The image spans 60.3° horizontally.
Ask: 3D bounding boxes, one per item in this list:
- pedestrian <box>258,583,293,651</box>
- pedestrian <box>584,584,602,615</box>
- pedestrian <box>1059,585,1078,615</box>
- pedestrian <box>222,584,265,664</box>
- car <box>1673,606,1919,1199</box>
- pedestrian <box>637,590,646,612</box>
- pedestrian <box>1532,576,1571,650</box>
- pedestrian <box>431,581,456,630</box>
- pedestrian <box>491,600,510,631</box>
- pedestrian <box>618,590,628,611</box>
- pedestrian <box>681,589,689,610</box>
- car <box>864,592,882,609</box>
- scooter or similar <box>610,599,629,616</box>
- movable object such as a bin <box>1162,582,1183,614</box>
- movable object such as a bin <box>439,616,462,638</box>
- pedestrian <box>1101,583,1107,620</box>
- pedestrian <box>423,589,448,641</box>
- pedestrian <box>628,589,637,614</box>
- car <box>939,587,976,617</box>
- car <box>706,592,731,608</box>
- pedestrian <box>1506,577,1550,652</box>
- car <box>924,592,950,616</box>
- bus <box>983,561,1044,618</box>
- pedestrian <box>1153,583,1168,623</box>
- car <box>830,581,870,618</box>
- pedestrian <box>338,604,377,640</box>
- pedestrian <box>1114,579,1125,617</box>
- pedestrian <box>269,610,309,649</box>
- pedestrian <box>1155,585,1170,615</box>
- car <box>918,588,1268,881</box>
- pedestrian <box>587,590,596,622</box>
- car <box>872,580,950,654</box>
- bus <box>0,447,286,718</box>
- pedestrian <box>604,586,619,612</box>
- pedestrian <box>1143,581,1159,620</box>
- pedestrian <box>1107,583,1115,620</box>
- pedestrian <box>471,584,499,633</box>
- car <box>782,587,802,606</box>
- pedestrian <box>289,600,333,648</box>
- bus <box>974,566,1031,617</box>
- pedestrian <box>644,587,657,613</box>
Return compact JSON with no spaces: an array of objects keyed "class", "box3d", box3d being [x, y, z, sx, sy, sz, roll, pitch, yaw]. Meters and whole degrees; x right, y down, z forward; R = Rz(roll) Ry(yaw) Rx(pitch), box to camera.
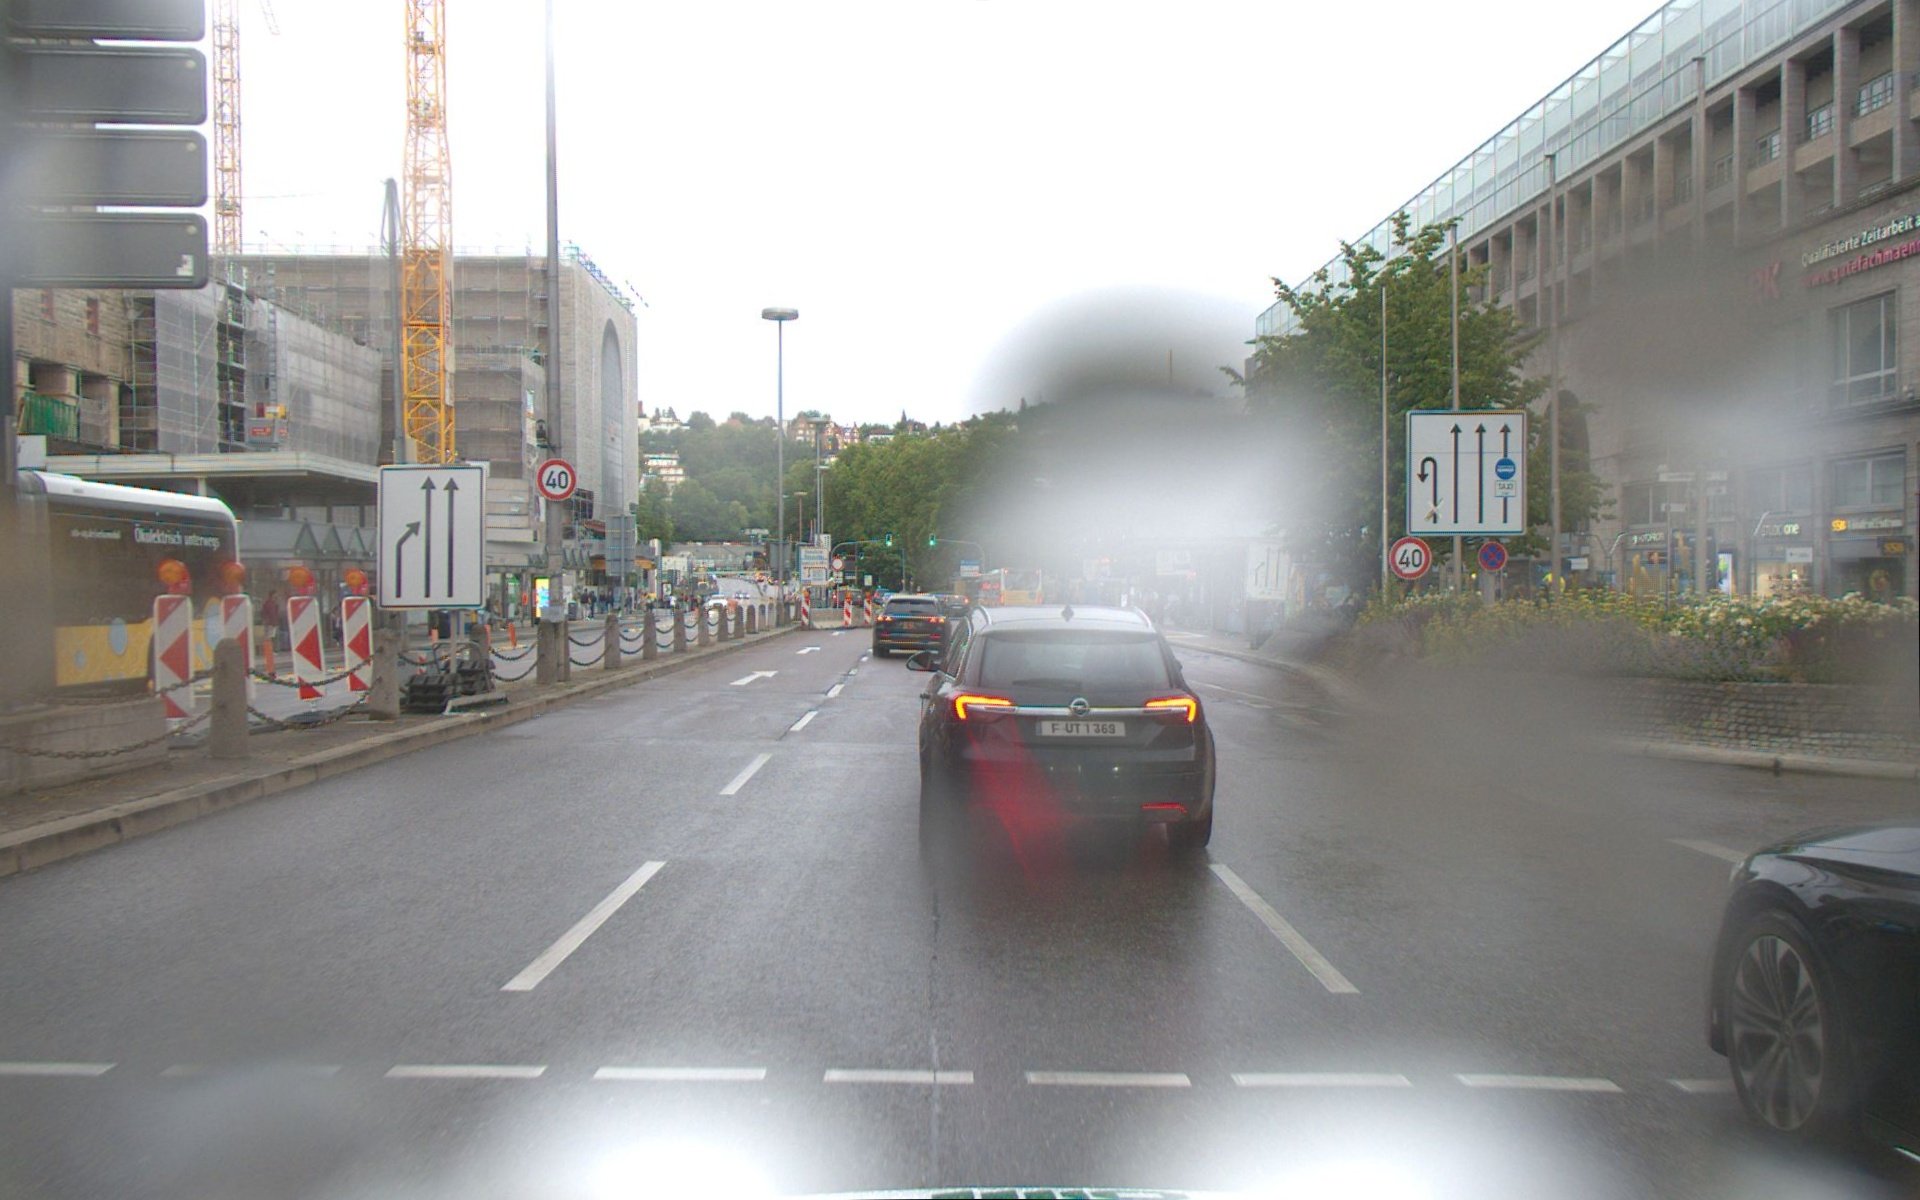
[{"class":"pedestrian","box3d":[-18.574,0.453,44.893,0.710,1.821,0.746,0,0,-8]},{"class":"pedestrian","box3d":[-22.701,-0.023,102.384,0.688,1.873,0.877,0,0,26]},{"class":"pedestrian","box3d":[6.201,-0.018,94.722,0.749,1.720,0.992,0,0,-23]},{"class":"pedestrian","box3d":[-18.156,0.607,41.931,0.744,1.993,0.822,0,0,-5]},{"class":"car","box3d":[3.190,0.772,2.955,1.781,1.489,4.699,0,0,-1]},{"class":"pedestrian","box3d":[-25.691,0.077,133.438,0.670,1.715,0.835,0,0,-16]},{"class":"pedestrian","box3d":[14.461,0.313,40.449,0.600,1.782,0.868,0,0,-4]},{"class":"pedestrian","box3d":[-19.437,0.204,62.229,0.772,1.821,0.666,0,0,-30]},{"class":"pedestrian","box3d":[-20.406,0.697,73.461,0.685,1.349,0.805,0,0,-4]},{"class":"pedestrian","box3d":[-27.001,0.040,132.464,0.662,1.642,0.838,0,0,0]},{"class":"pedestrian","box3d":[-25.120,-0.073,150.941,0.684,1.873,0.528,0,0,-5]},{"class":"car","box3d":[-8.687,0.059,166.206,1.671,1.694,3.705,1,0,-1]},{"class":"scooter or similar","box3d":[-21.471,0.475,104.183,0.450,1.084,1.237,0,0,32]},{"class":"movable object such as a bin","box3d":[11.308,-0.100,88.094,0.654,1.681,1.040,0,0,-25]},{"class":"movable object such as a bin","box3d":[-18.536,0.980,60.136,0.502,0.803,0.630,-1,0,42]},{"class":"pedestrian","box3d":[7.211,0.062,82.894,0.238,1.869,0.512,0,0,1]},{"class":"pedestrian","box3d":[-18.903,0.537,59.584,0.548,1.880,0.673,0,0,43]},{"class":"pedestrian","box3d":[-24.365,0.128,122.961,0.561,1.873,0.701,0,0,-16]},{"class":"car","box3d":[-0.165,0.113,98.610,1.816,1.747,3.996,1,0,-5]},{"class":"car","box3d":[-23.293,0.021,159.841,1.954,1.493,3.998,1,0,-3]},{"class":"pedestrian","box3d":[13.699,0.336,39.902,0.627,1.782,1.076,0,0,-4]},{"class":"car","box3d":[-1.590,0.290,115.361,1.641,1.609,3.237,1,0,-4]},{"class":"bus","box3d":[3.220,-0.590,102.210,3.078,3.304,9.130,1,0,-3]},{"class":"pedestrian","box3d":[9.480,0.126,78.241,0.614,1.869,0.641,0,0,0]},{"class":"car","box3d":[-5.859,-0.034,88.505,1.953,1.895,4.831,0,0,-1]},{"class":"pedestrian","box3d":[-20.112,0.731,55.195,0.930,1.178,1.054,0,0,-2]},{"class":"pedestrian","box3d":[9.498,-0.098,98.371,0.578,2.254,0.587,0,0,-1]},{"class":"pedestrian","box3d":[-19.629,0.855,48.420,0.827,1.112,0.925,0,0,-4]},{"class":"pedestrian","box3d":[11.727,0.014,95.757,0.733,1.724,0.902,0,0,0]},{"class":"car","box3d":[0.656,0.703,11.125,1.839,1.534,4.851,0,0,-1]},{"class":"pedestrian","box3d":[-21.754,0.336,97.640,0.498,1.873,0.703,0,0,-9]},{"class":"car","box3d":[-1.187,0.383,40.370,1.793,1.715,4.132,0,0,-2]},{"class":"bus","box3d":[-14.323,-0.215,21.982,2.850,3.640,19.077,-1,0,0]},{"class":"pedestrian","box3d":[-25.254,-0.093,119.786,0.822,1.873,1.058,0,0,1]},{"class":"pedestrian","box3d":[9.156,0.013,79.308,0.662,1.869,0.574,0,0,-1]},{"class":"pedestrian","box3d":[7.575,0.065,82.813,0.339,1.869,0.533,0,0,1]},{"class":"pedestrian","box3d":[-17.822,0.306,62.062,0.759,1.821,0.861,0,0,5]},{"class":"car","box3d":[-18.395,-0.373,180.688,1.956,2.049,5.360,1,0,-8]},{"class":"pedestrian","box3d":[-19.780,0.722,50.431,1.034,1.457,0.830,0,0,-4]},{"class":"bus","box3d":[2.771,-0.535,111.361,3.051,3.261,9.236,1,0,-3]},{"class":"pedestrian","box3d":[-22.745,-0.021,121.384,0.861,1.873,0.835,0,0,-17]}]
